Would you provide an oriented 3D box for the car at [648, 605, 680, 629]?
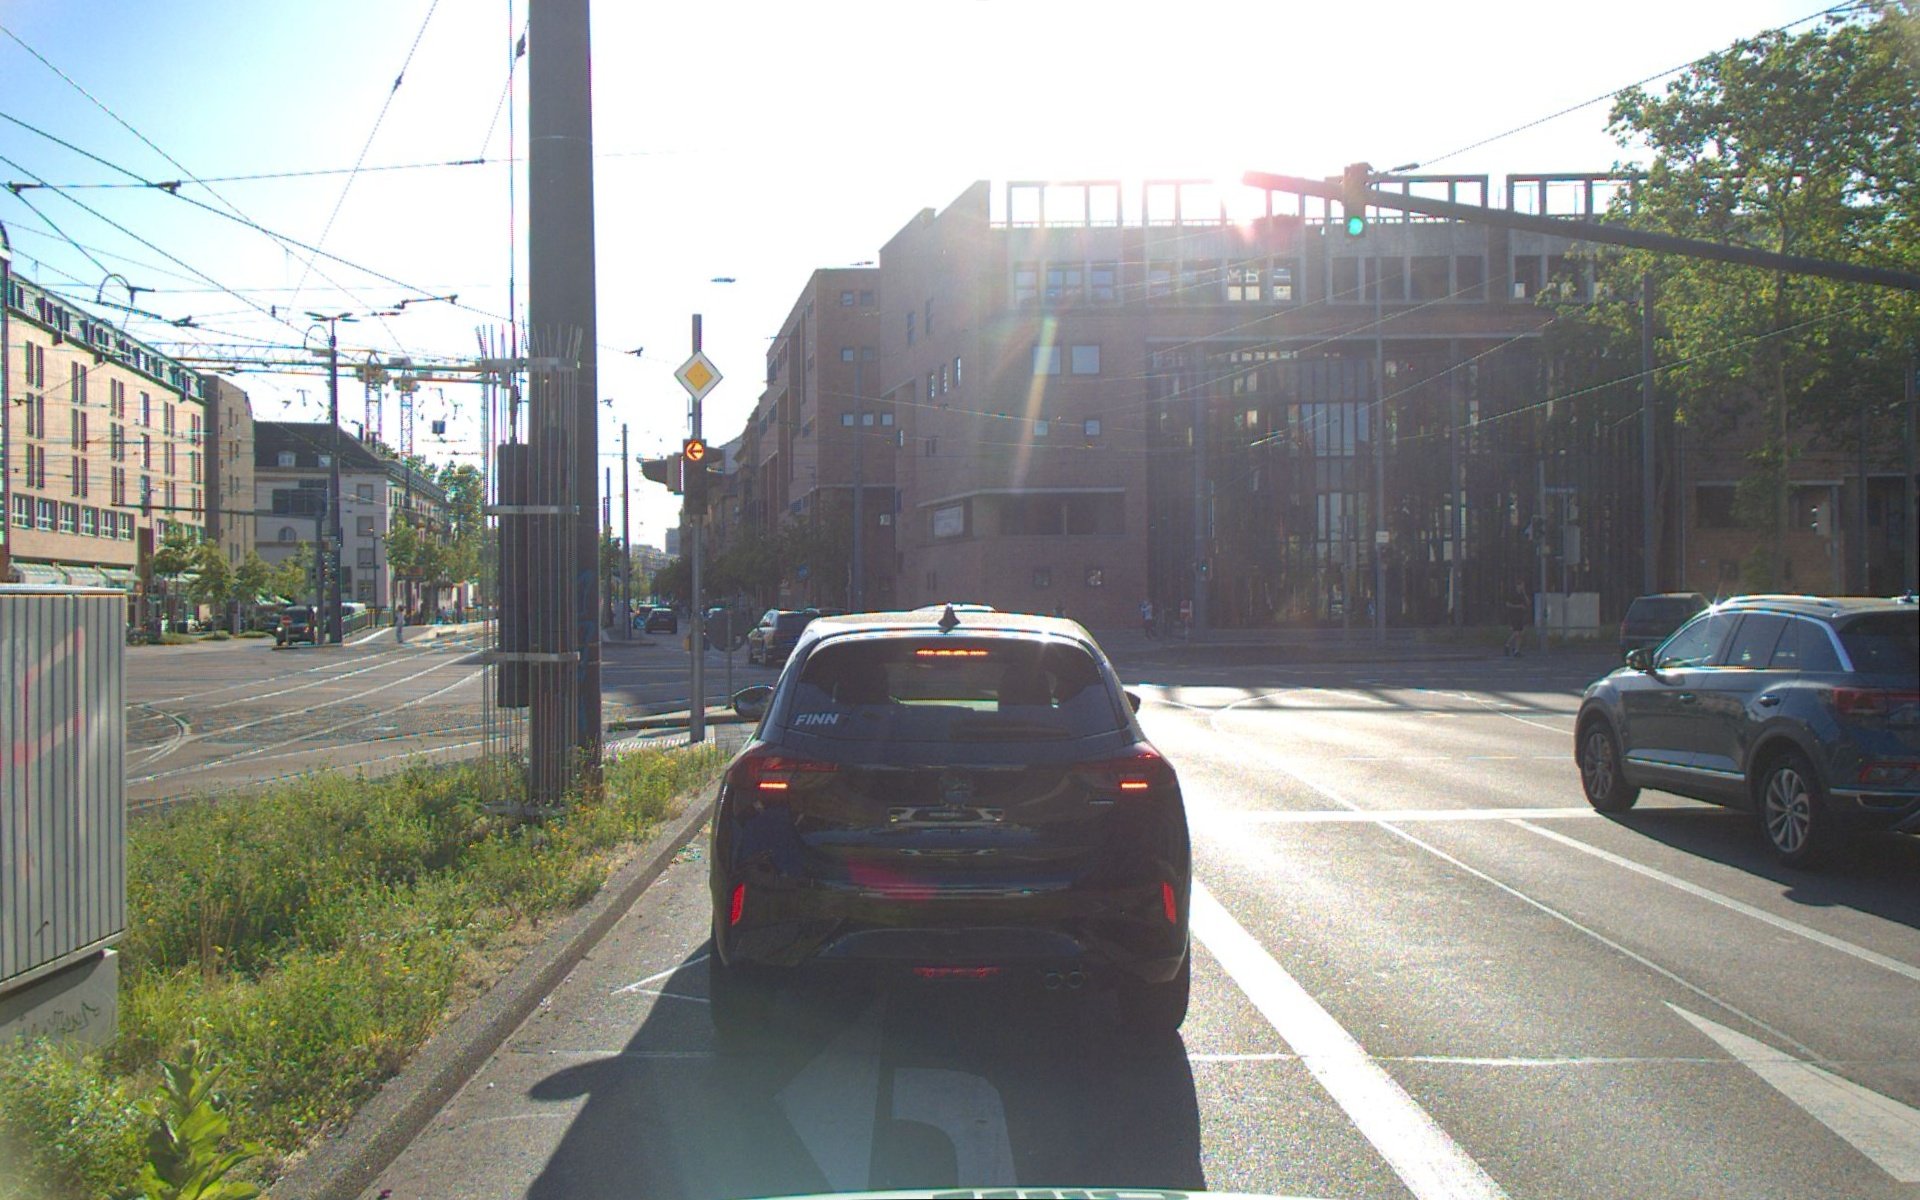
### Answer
[{"bbox_3d":[-17.564,0.987,98.111,1.707,1.373,3.988,0,0,-12],"label":"car"}]

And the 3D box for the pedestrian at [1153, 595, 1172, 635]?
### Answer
[{"bbox_3d":[8.464,0.610,69.120,0.722,1.645,0.561,-1,0,8],"label":"pedestrian"}]

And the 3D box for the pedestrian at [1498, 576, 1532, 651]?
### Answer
[{"bbox_3d":[13.332,0.330,39.740,0.692,1.789,0.560,-1,0,25],"label":"pedestrian"}]

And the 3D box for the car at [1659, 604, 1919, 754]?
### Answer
[{"bbox_3d":[9.772,0.796,18.723,1.715,1.456,4.487,-1,0,-1],"label":"car"}]

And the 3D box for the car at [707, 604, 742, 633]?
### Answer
[{"bbox_3d":[-12.417,0.969,87.245,1.774,1.483,3.992,1,0,-9],"label":"car"}]

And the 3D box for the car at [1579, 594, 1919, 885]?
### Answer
[{"bbox_3d":[5.650,0.733,10.736,1.709,1.531,3.879,-1,0,-2],"label":"car"}]

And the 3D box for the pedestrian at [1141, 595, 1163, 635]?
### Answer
[{"bbox_3d":[7.913,0.615,68.272,0.881,1.645,0.561,-1,0,8],"label":"pedestrian"}]

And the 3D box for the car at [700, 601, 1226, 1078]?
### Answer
[{"bbox_3d":[0.024,0.741,7.115,1.615,1.458,4.000,0,0,0],"label":"car"}]

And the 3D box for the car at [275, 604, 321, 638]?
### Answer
[{"bbox_3d":[-31.209,0.979,78.021,1.718,1.531,3.861,-1,0,-18],"label":"car"}]

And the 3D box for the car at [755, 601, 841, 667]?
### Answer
[{"bbox_3d":[-4.333,0.849,43.649,1.779,1.518,4.484,-4,1,-11],"label":"car"}]

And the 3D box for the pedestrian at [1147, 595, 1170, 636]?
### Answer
[{"bbox_3d":[8.099,0.636,67.544,0.881,1.645,0.561,-1,0,8],"label":"pedestrian"}]

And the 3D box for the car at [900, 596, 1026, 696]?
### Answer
[{"bbox_3d":[-0.019,0.718,28.219,1.653,1.458,4.148,2,1,-6],"label":"car"}]

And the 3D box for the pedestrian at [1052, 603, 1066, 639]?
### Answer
[{"bbox_3d":[4.122,0.876,68.632,0.519,1.455,0.598,-1,0,-1],"label":"pedestrian"}]

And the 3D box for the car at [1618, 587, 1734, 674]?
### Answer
[{"bbox_3d":[14.723,0.584,33.883,1.657,1.657,4.453,-1,0,30],"label":"car"}]

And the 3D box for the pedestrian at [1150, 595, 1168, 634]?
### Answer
[{"bbox_3d":[8.440,0.611,70.033,0.722,1.645,0.561,-1,0,8],"label":"pedestrian"}]

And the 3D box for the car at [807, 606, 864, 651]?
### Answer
[{"bbox_3d":[-4.359,0.965,57.482,1.773,1.483,3.994,1,0,-7],"label":"car"}]

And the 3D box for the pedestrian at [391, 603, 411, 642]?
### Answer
[{"bbox_3d":[-24.512,0.984,72.567,0.753,1.669,0.741,-1,0,-15],"label":"pedestrian"}]

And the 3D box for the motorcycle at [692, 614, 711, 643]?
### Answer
[{"bbox_3d":[-10.529,1.165,67.307,0.761,1.135,1.965,-1,0,-9],"label":"motorcycle"}]

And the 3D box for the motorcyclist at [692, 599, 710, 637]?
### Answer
[{"bbox_3d":[-10.550,0.722,67.359,0.731,1.557,1.018,-1,0,-9],"label":"motorcyclist"}]

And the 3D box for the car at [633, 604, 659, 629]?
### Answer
[{"bbox_3d":[-22.023,1.152,115.796,1.706,1.680,3.988,0,0,-12],"label":"car"}]
